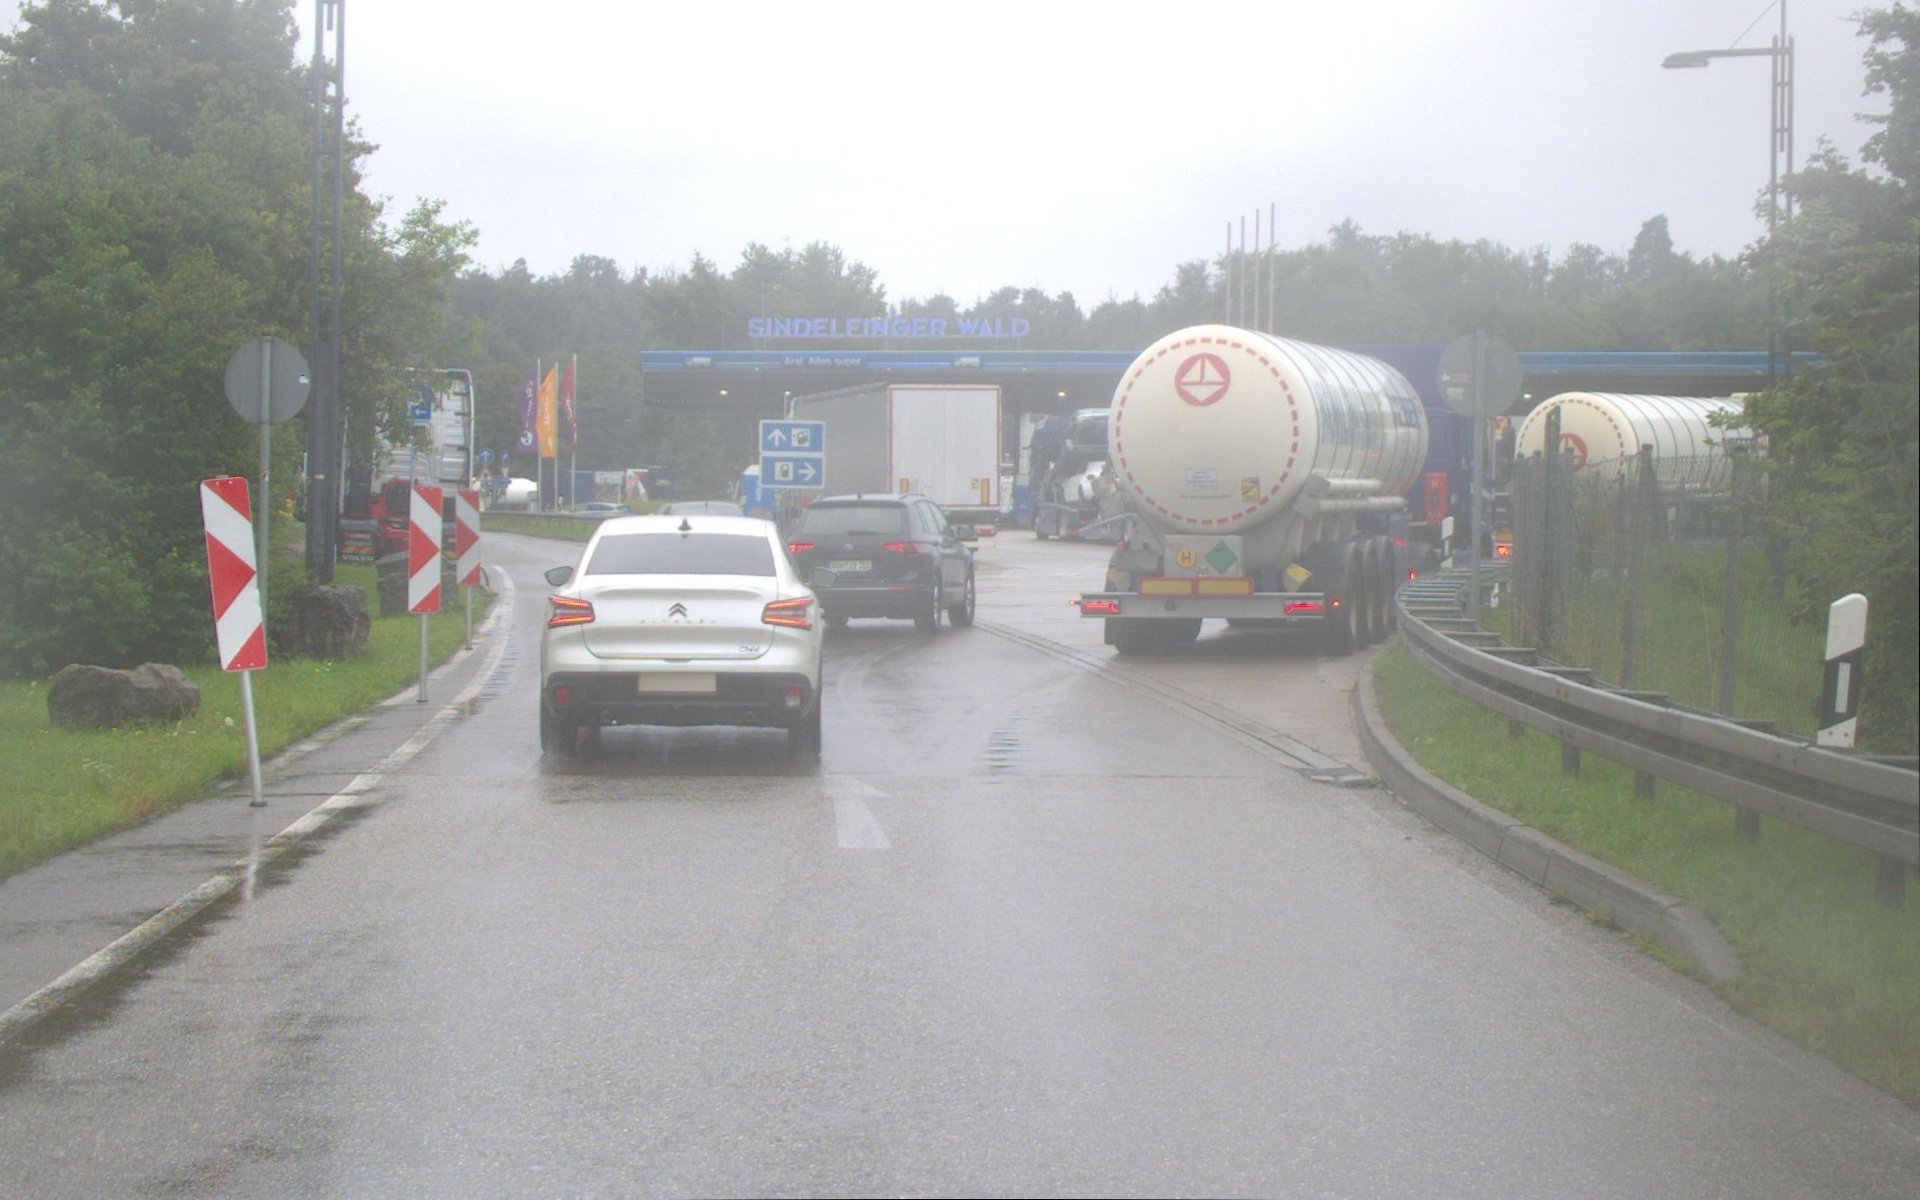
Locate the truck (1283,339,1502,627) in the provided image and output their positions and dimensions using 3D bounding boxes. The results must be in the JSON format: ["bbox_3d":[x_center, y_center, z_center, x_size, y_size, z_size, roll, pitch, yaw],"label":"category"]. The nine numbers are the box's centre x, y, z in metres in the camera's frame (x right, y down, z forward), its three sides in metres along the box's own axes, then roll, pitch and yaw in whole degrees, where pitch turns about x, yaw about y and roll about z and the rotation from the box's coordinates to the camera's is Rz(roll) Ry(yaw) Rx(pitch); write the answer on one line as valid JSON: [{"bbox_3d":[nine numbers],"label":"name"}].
[{"bbox_3d":[5.663,-1.514,44.522,2.054,3.519,4.743,1,2,16],"label":"truck"}]

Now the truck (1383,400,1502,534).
[{"bbox_3d":[13.845,-3.853,98.916,2.424,3.792,4.001,0,3,-7],"label":"truck"}]

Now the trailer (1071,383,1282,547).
[{"bbox_3d":[5.798,-3.726,94.735,3.215,4.174,11.533,1,2,-9],"label":"trailer"}]

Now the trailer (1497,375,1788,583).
[{"bbox_3d":[12.413,-2.158,61.705,2.134,3.428,10.237,1,2,28],"label":"trailer"}]

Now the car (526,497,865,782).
[{"bbox_3d":[-1.642,0.219,22.466,1.993,1.673,4.000,1,0,-2],"label":"car"}]

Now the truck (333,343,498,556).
[{"bbox_3d":[-10.588,-2.875,66.394,2.914,3.891,6.319,0,2,-11],"label":"truck"}]

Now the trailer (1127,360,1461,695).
[{"bbox_3d":[3.935,-0.855,38.215,1.982,3.213,10.314,1,2,15],"label":"trailer"}]

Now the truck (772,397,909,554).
[{"bbox_3d":[-3.123,-3.198,88.045,2.370,3.860,7.014,0,2,-11],"label":"truck"}]

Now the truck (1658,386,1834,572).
[{"bbox_3d":[15.400,-2.356,67.182,2.149,3.501,4.639,1,2,28],"label":"truck"}]

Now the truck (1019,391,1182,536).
[{"bbox_3d":[4.175,-4.165,104.608,3.233,4.174,8.447,1,2,-9],"label":"truck"}]

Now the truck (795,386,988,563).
[{"bbox_3d":[-1.786,-3.002,81.591,2.370,3.860,12.459,0,2,-11],"label":"truck"}]

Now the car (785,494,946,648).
[{"bbox_3d":[-1.085,-0.326,40.869,1.742,1.661,4.000,3,0,0],"label":"car"}]

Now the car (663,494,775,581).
[{"bbox_3d":[-4.297,-1.131,61.133,1.878,1.456,4.001,1,1,-4],"label":"car"}]

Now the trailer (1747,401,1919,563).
[{"bbox_3d":[19.851,-2.596,75.653,2.187,3.380,7.549,2,2,36],"label":"trailer"}]
